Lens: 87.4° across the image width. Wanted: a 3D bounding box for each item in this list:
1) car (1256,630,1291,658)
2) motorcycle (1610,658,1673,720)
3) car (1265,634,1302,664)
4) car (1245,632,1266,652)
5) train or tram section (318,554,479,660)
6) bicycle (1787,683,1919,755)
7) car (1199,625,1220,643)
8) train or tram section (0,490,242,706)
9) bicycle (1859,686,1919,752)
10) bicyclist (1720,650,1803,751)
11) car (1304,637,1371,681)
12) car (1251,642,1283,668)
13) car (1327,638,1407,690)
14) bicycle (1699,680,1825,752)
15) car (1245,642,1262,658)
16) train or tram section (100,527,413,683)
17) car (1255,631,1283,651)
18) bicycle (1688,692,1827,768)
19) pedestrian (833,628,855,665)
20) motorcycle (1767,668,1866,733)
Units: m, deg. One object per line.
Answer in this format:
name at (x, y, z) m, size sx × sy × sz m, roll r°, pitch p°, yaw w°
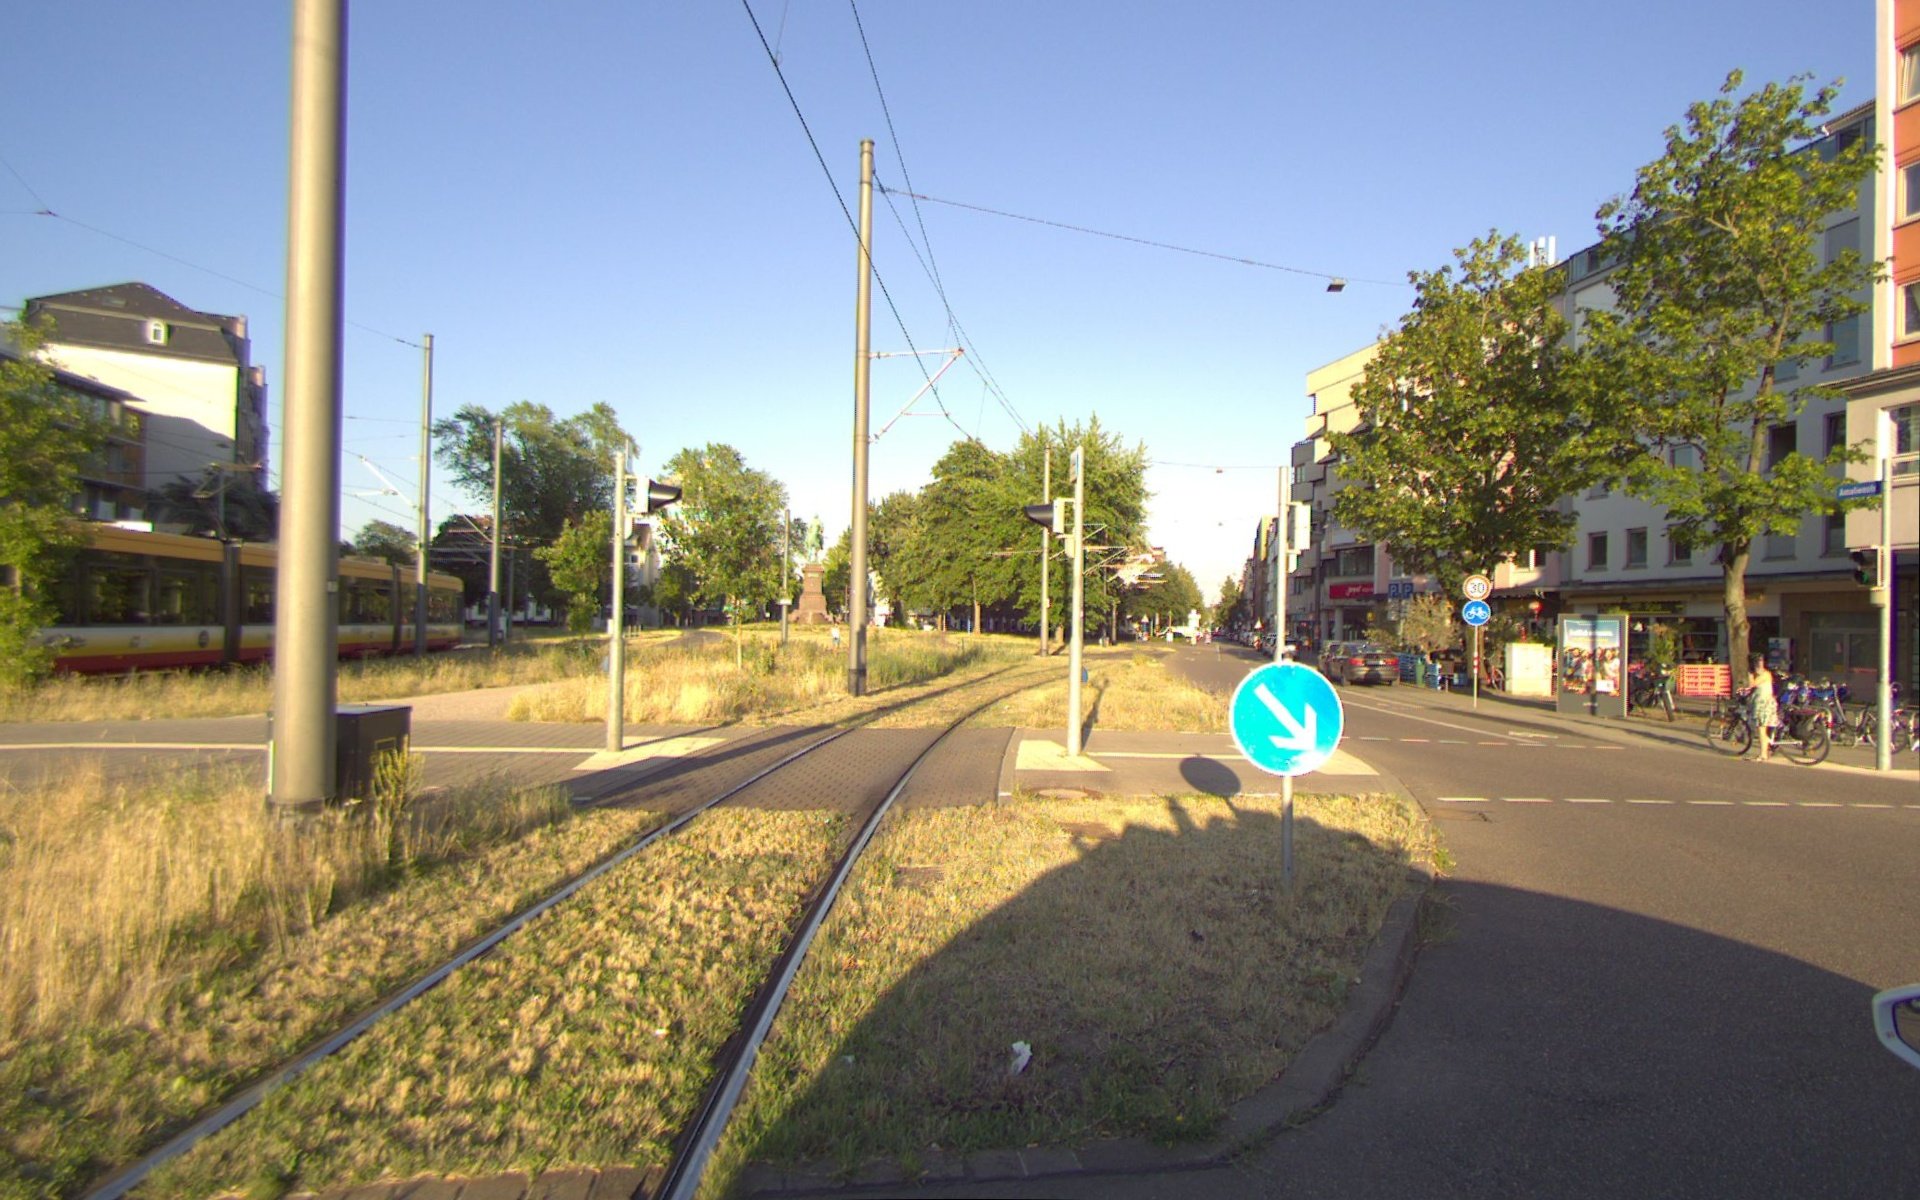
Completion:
car at (22.366, 3.120, 71.878) m, size 1.959 × 1.886 × 4.003 m, roll 1°, pitch -1°, yaw 11°
motorcycle at (15.760, 2.032, 23.243) m, size 0.374 × 1.335 × 1.388 m, roll 1°, pitch -1°, yaw -8°
car at (21.320, 3.207, 66.355) m, size 1.887 × 1.889 × 4.003 m, roll 1°, pitch -1°, yaw 12°
car at (30.501, 4.325, 103.541) m, size 1.960 × 2.007 × 4.002 m, roll 1°, pitch -1°, yaw 17°
train or tram section at (-23.150, 0.379, 42.314) m, size 2.866 × 3.788 × 12.156 m, roll 1°, pitch -1°, yaw -15°
bicycle at (15.773, 2.066, 17.727) m, size 0.460 × 1.089 × 1.992 m, roll 1°, pitch -1°, yaw -10°
car at (29.598, 4.061, 119.139) m, size 1.961 × 2.040 × 3.999 m, roll -1°, pitch 0°, yaw 21°
train or tram section at (-18.425, -0.034, 18.507) m, size 2.866 × 3.788 × 13.196 m, roll 1°, pitch -1°, yaw -10°
bicycle at (17.001, 2.129, 17.901) m, size 0.388 × 1.089 × 1.558 m, roll 1°, pitch -1°, yaw -10°
bicyclist at (12.049, 1.494, 15.121) m, size 0.493 × 1.445 × 0.854 m, roll 1°, pitch -1°, yaw -20°
car at (16.139, 2.490, 43.113) m, size 1.959 × 1.724 × 4.003 m, roll 1°, pitch -1°, yaw 10°
car at (23.656, 4.189, 77.549) m, size 1.959 × 1.863 × 4.003 m, roll 1°, pitch -1°, yaw 11°
car at (14.743, 2.270, 36.589) m, size 1.959 × 1.706 × 4.003 m, roll 1°, pitch -1°, yaw 11°
bicycle at (14.058, 1.999, 17.667) m, size 0.460 × 1.089 × 1.904 m, roll 1°, pitch -1°, yaw -10°
car at (36.045, 6.142, 123.482) m, size 1.960 × 1.903 × 3.906 m, roll 1°, pitch -1°, yaw 16°
train or tram section at (-20.538, 0.268, 30.715) m, size 2.835 × 3.788 × 12.163 m, roll 1°, pitch -1°, yaw -10°
car at (27.792, 3.663, 90.406) m, size 1.959 × 1.733 × 4.003 m, roll 1°, pitch -1°, yaw 12°
bicycle at (12.018, 1.937, 15.199) m, size 0.501 × 0.957 × 1.661 m, roll 1°, pitch -1°, yaw -18°
pedestrian at (-4.994, 1.997, 43.268) m, size 0.686 × 1.515 × 0.911 m, roll 1°, pitch -1°, yaw -23°
motorcycle at (18.256, 2.134, 21.415) m, size 1.802 × 1.335 × 0.545 m, roll 1°, pitch -1°, yaw -8°
